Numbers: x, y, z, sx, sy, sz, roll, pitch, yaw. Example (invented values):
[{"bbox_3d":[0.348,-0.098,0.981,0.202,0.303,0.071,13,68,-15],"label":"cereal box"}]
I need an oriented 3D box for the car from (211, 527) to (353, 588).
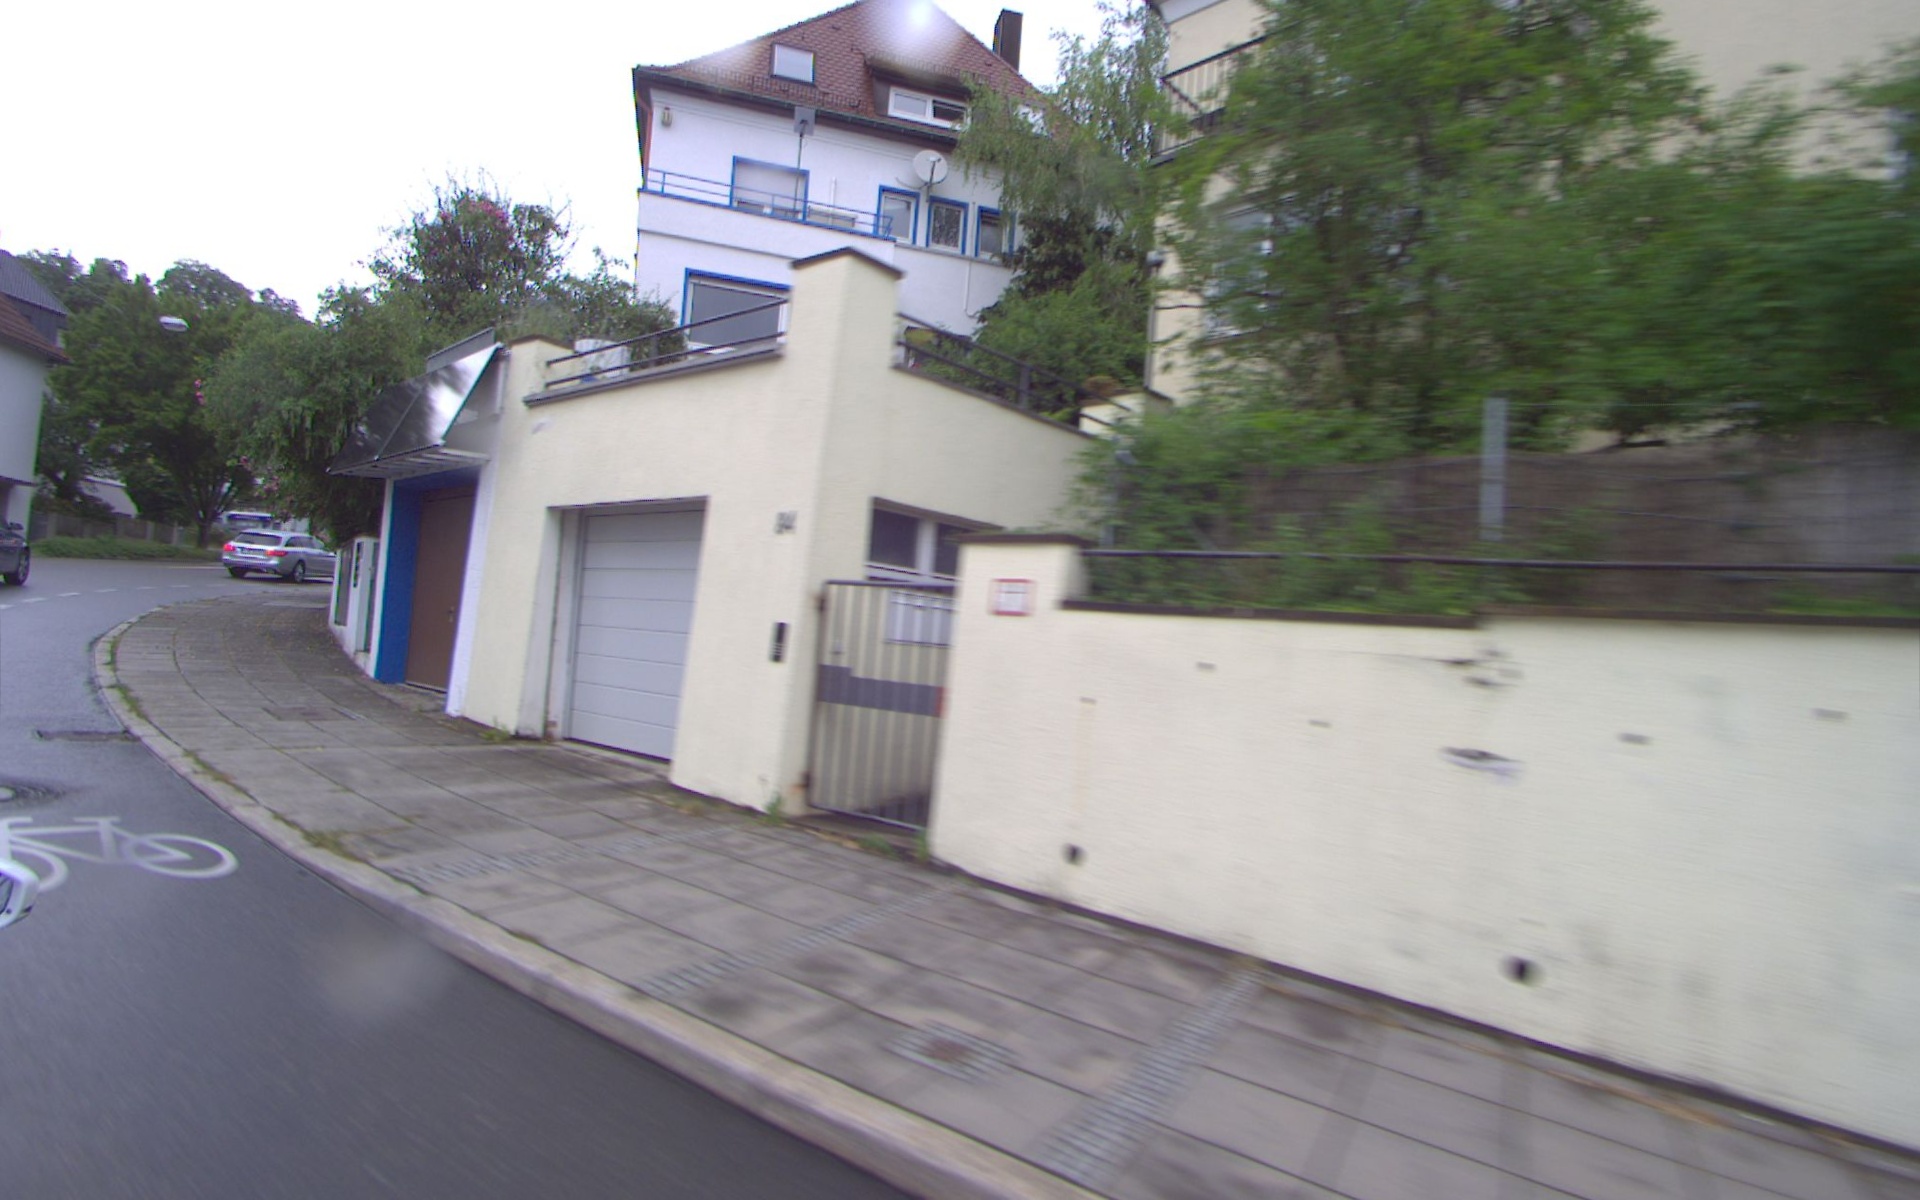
[{"bbox_3d":[-20.182,-1.202,30.171,1.786,1.376,3.997,7,-1,-7],"label":"car"}]

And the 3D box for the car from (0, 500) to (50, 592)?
[{"bbox_3d":[-16.338,-0.977,15.979,1.798,1.456,4.050,9,-1,-30],"label":"car"}]

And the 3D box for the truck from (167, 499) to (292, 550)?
[{"bbox_3d":[-48.259,-4.953,66.527,6.680,2.296,2.316,7,-1,6],"label":"truck"}]
